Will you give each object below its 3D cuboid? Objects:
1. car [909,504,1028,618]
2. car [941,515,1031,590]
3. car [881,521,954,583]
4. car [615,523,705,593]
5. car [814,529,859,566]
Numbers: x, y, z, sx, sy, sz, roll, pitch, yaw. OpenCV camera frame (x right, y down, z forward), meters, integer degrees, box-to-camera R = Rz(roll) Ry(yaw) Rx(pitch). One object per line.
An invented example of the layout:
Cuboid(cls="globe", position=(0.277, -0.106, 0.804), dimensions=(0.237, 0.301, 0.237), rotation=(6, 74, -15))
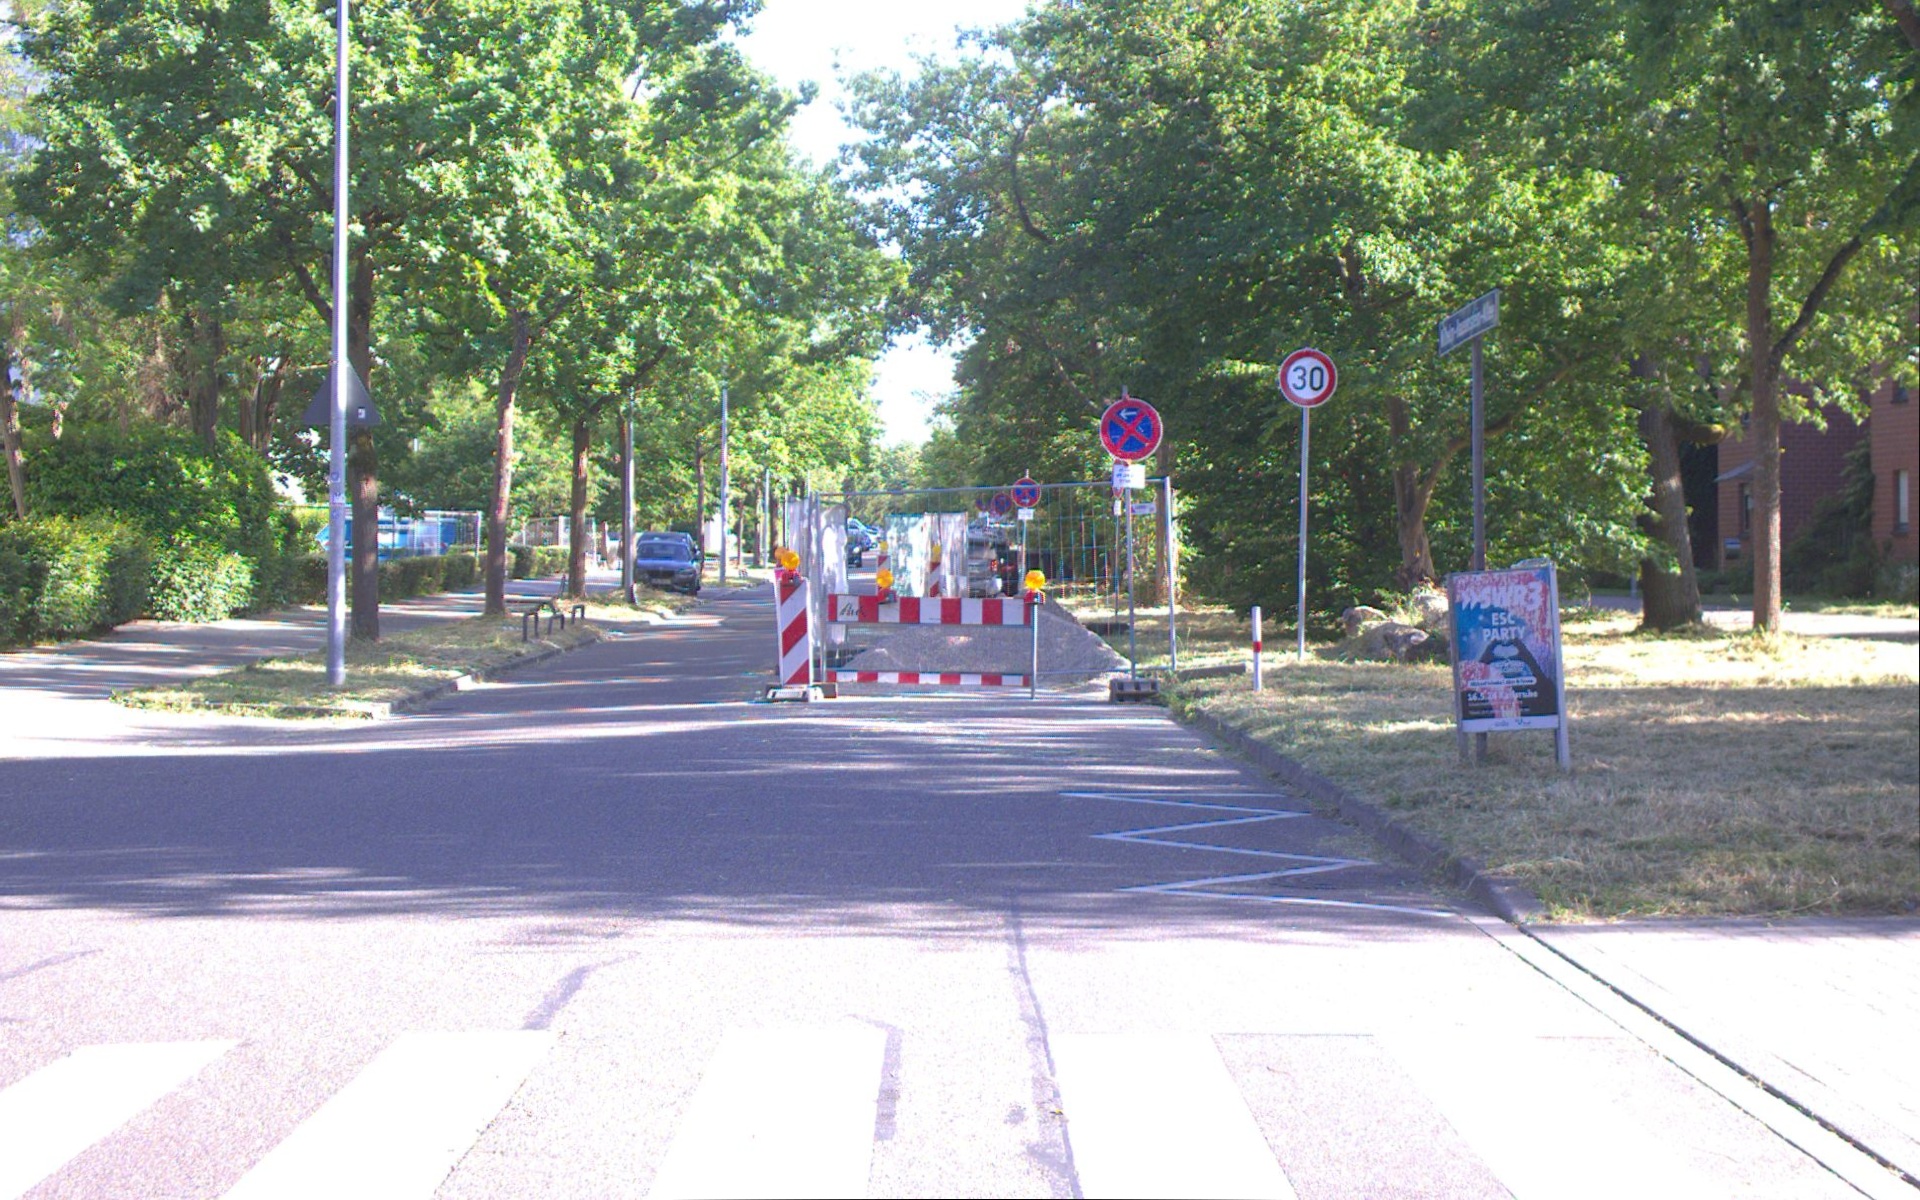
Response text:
Cuboid(cls="car", position=(0.115, -0.700, 60.380), dimensions=(1.993, 1.926, 4.000), rotation=(0, 1, -1))
Cuboid(cls="car", position=(0.593, -1.131, 81.188), dimensions=(1.993, 1.711, 4.000), rotation=(0, 1, -1))
Cuboid(cls="car", position=(-1.223, -1.360, 96.936), dimensions=(1.993, 1.711, 4.000), rotation=(0, 1, -1))
Cuboid(cls="car", position=(-7.603, -1.071, 87.389), dimensions=(1.993, 1.711, 4.000), rotation=(0, 1, -1))
Cuboid(cls="car", position=(-5.732, -2.434, 159.798), dimensions=(1.993, 1.711, 4.000), rotation=(0, 1, -1))
